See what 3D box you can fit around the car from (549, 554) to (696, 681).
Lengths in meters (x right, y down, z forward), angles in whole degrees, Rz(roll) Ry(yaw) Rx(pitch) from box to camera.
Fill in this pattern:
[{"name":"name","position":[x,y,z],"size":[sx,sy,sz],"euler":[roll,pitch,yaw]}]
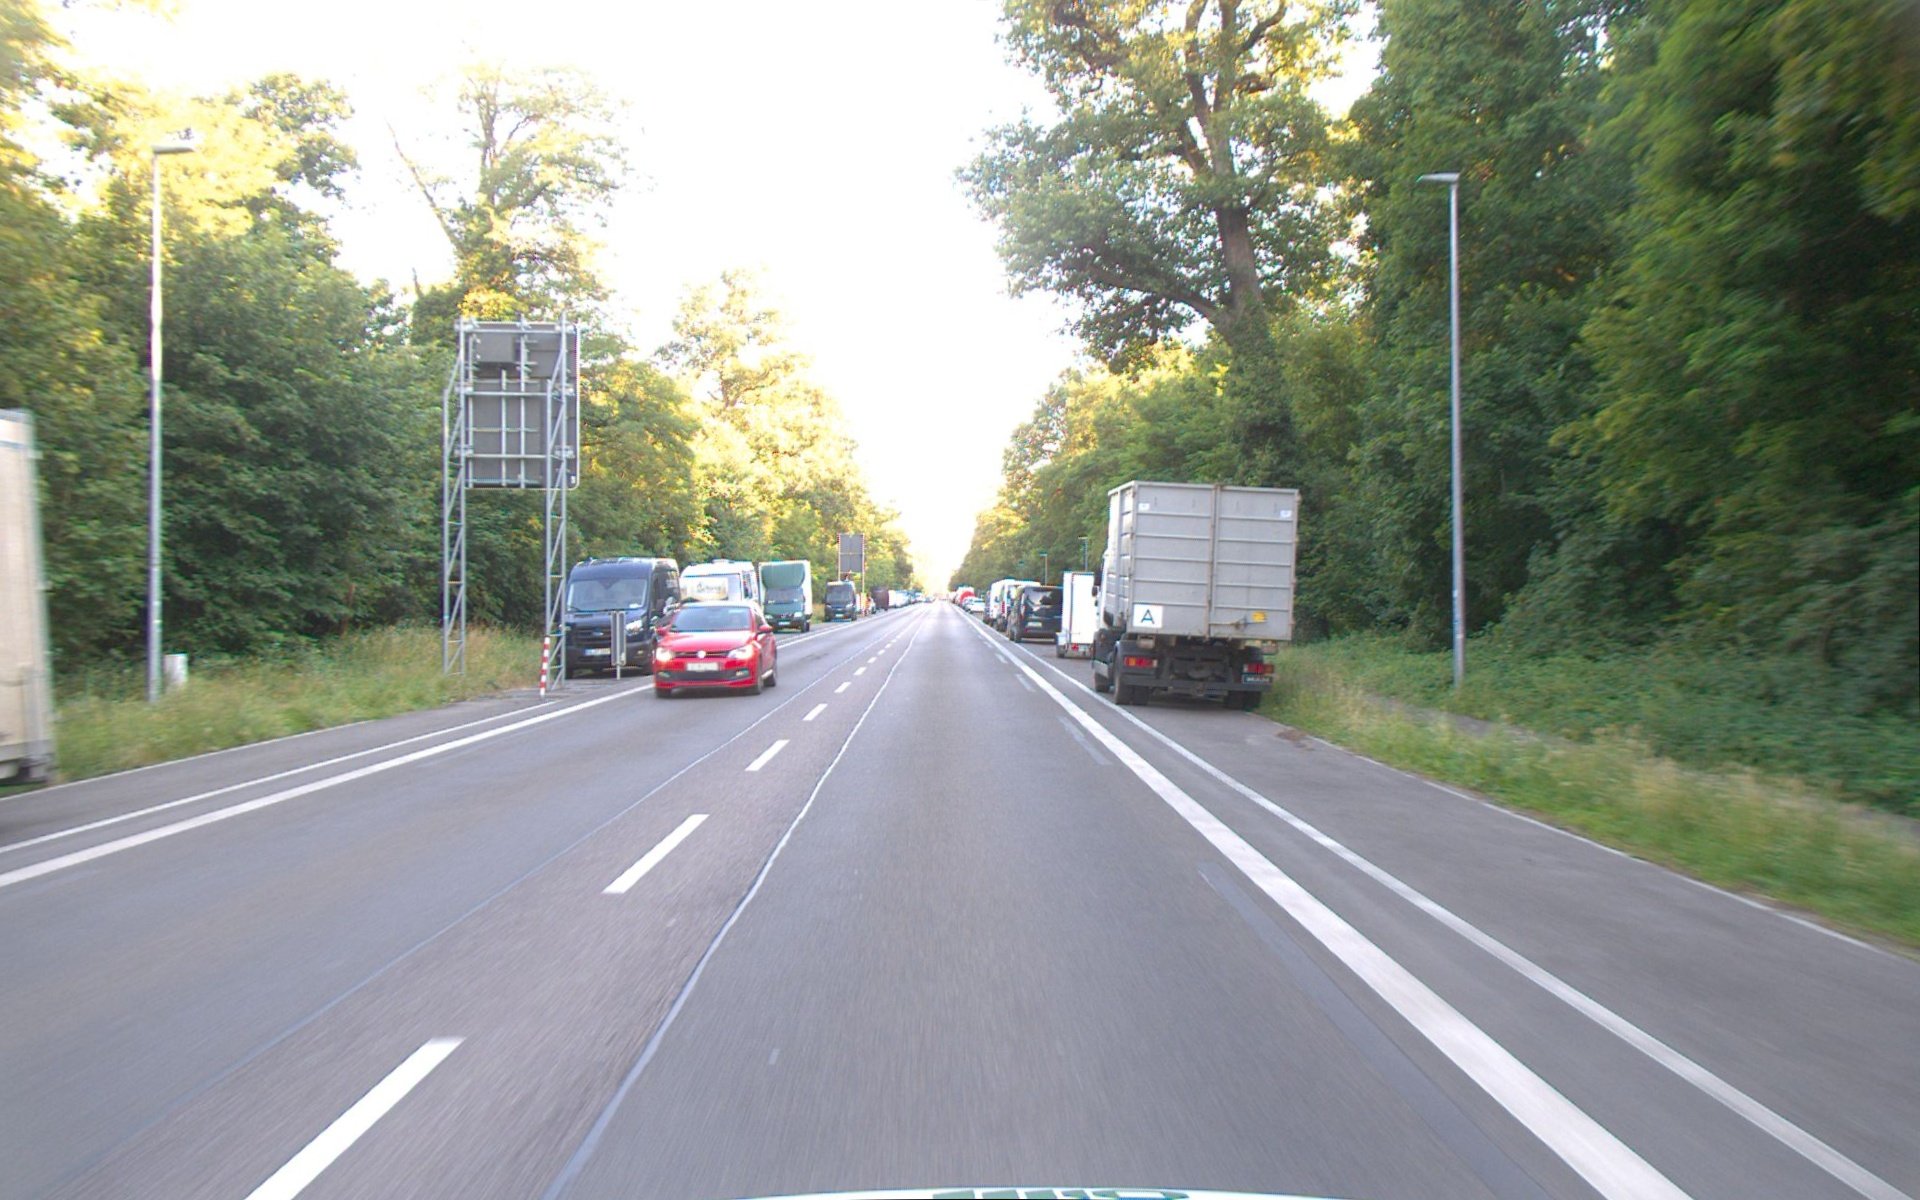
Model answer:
[{"name":"car","position":[-7.120,0.338,35.505],"size":[1.953,2.405,5.764],"euler":[-3,0,-1]}]

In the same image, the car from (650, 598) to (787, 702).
[{"name":"car","position":[-3.859,0.752,26.984],"size":[1.648,1.512,4.037],"euler":[-1,0,-1]}]

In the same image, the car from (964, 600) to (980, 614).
[{"name":"car","position":[1.118,0.651,157.166],"size":[1.398,1.243,3.411],"euler":[-3,0,-1]}]

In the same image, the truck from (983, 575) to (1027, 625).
[{"name":"truck","position":[2.496,-0.011,92.304],"size":[2.099,2.706,4.297],"euler":[1,0,-3]}]

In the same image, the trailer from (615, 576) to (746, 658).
[{"name":"trailer","position":[-7.816,0.455,46.622],"size":[1.922,2.192,3.930],"euler":[-1,0,20]}]

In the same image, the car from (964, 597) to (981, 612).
[{"name":"car","position":[1.329,0.444,174.757],"size":[1.612,1.512,3.999],"euler":[1,0,-1]}]

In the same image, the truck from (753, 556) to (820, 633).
[{"name":"truck","position":[-8.086,-0.258,77.722],"size":[2.453,3.387,6.840],"euler":[-1,0,-1]}]

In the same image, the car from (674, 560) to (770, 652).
[{"name":"car","position":[-7.417,0.166,52.158],"size":[2.203,2.694,5.720],"euler":[-1,0,-1]}]

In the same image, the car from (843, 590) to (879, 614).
[{"name":"car","position":[-8.483,0.162,142.058],"size":[1.664,2.049,4.002],"euler":[2,0,18]}]

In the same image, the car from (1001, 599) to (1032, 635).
[{"name":"car","position":[2.496,0.736,73.447],"size":[1.124,1.573,2.752],"euler":[1,0,-3]}]

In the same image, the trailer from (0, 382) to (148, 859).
[{"name":"trailer","position":[-7.097,0.167,9.303],"size":[2.279,2.975,5.625],"euler":[-3,0,-1]}]

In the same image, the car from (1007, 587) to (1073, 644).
[{"name":"car","position":[2.851,0.546,59.955],"size":[1.954,1.989,4.297],"euler":[1,0,-3]}]

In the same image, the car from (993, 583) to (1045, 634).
[{"name":"car","position":[2.810,0.416,79.218],"size":[2.099,2.354,4.297],"euler":[1,0,-3]}]

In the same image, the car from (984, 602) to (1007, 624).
[{"name":"car","position":[2.110,0.790,98.354],"size":[1.124,1.273,2.752],"euler":[1,0,-3]}]

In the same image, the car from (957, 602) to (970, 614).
[{"name":"car","position":[0.455,1.016,221.328],"size":[1.612,1.512,3.594],"euler":[1,0,-1]}]

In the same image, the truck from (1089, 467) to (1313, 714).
[{"name":"truck","position":[3.557,-0.124,26.096],"size":[2.535,3.312,7.221],"euler":[1,0,1]}]

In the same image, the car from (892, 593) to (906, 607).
[{"name":"car","position":[-9.510,-0.031,258.065],"size":[1.953,2.049,4.000],"euler":[-1,0,0]}]

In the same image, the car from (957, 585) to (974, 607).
[{"name":"car","position":[0.809,-0.558,239.110],"size":[2.267,3.147,5.638],"euler":[1,0,-1]}]

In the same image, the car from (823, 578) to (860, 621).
[{"name":"car","position":[-7.994,-0.058,112.370],"size":[2.142,2.837,5.333],"euler":[-1,0,-1]}]

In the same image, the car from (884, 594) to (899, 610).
[{"name":"car","position":[-9.106,0.285,219.905],"size":[1.954,2.049,3.997],"euler":[-1,-1,-3]}]

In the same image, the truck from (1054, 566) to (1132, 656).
[{"name":"truck","position":[3.611,0.288,45.469],"size":[1.846,2.323,4.300],"euler":[1,0,1]}]
